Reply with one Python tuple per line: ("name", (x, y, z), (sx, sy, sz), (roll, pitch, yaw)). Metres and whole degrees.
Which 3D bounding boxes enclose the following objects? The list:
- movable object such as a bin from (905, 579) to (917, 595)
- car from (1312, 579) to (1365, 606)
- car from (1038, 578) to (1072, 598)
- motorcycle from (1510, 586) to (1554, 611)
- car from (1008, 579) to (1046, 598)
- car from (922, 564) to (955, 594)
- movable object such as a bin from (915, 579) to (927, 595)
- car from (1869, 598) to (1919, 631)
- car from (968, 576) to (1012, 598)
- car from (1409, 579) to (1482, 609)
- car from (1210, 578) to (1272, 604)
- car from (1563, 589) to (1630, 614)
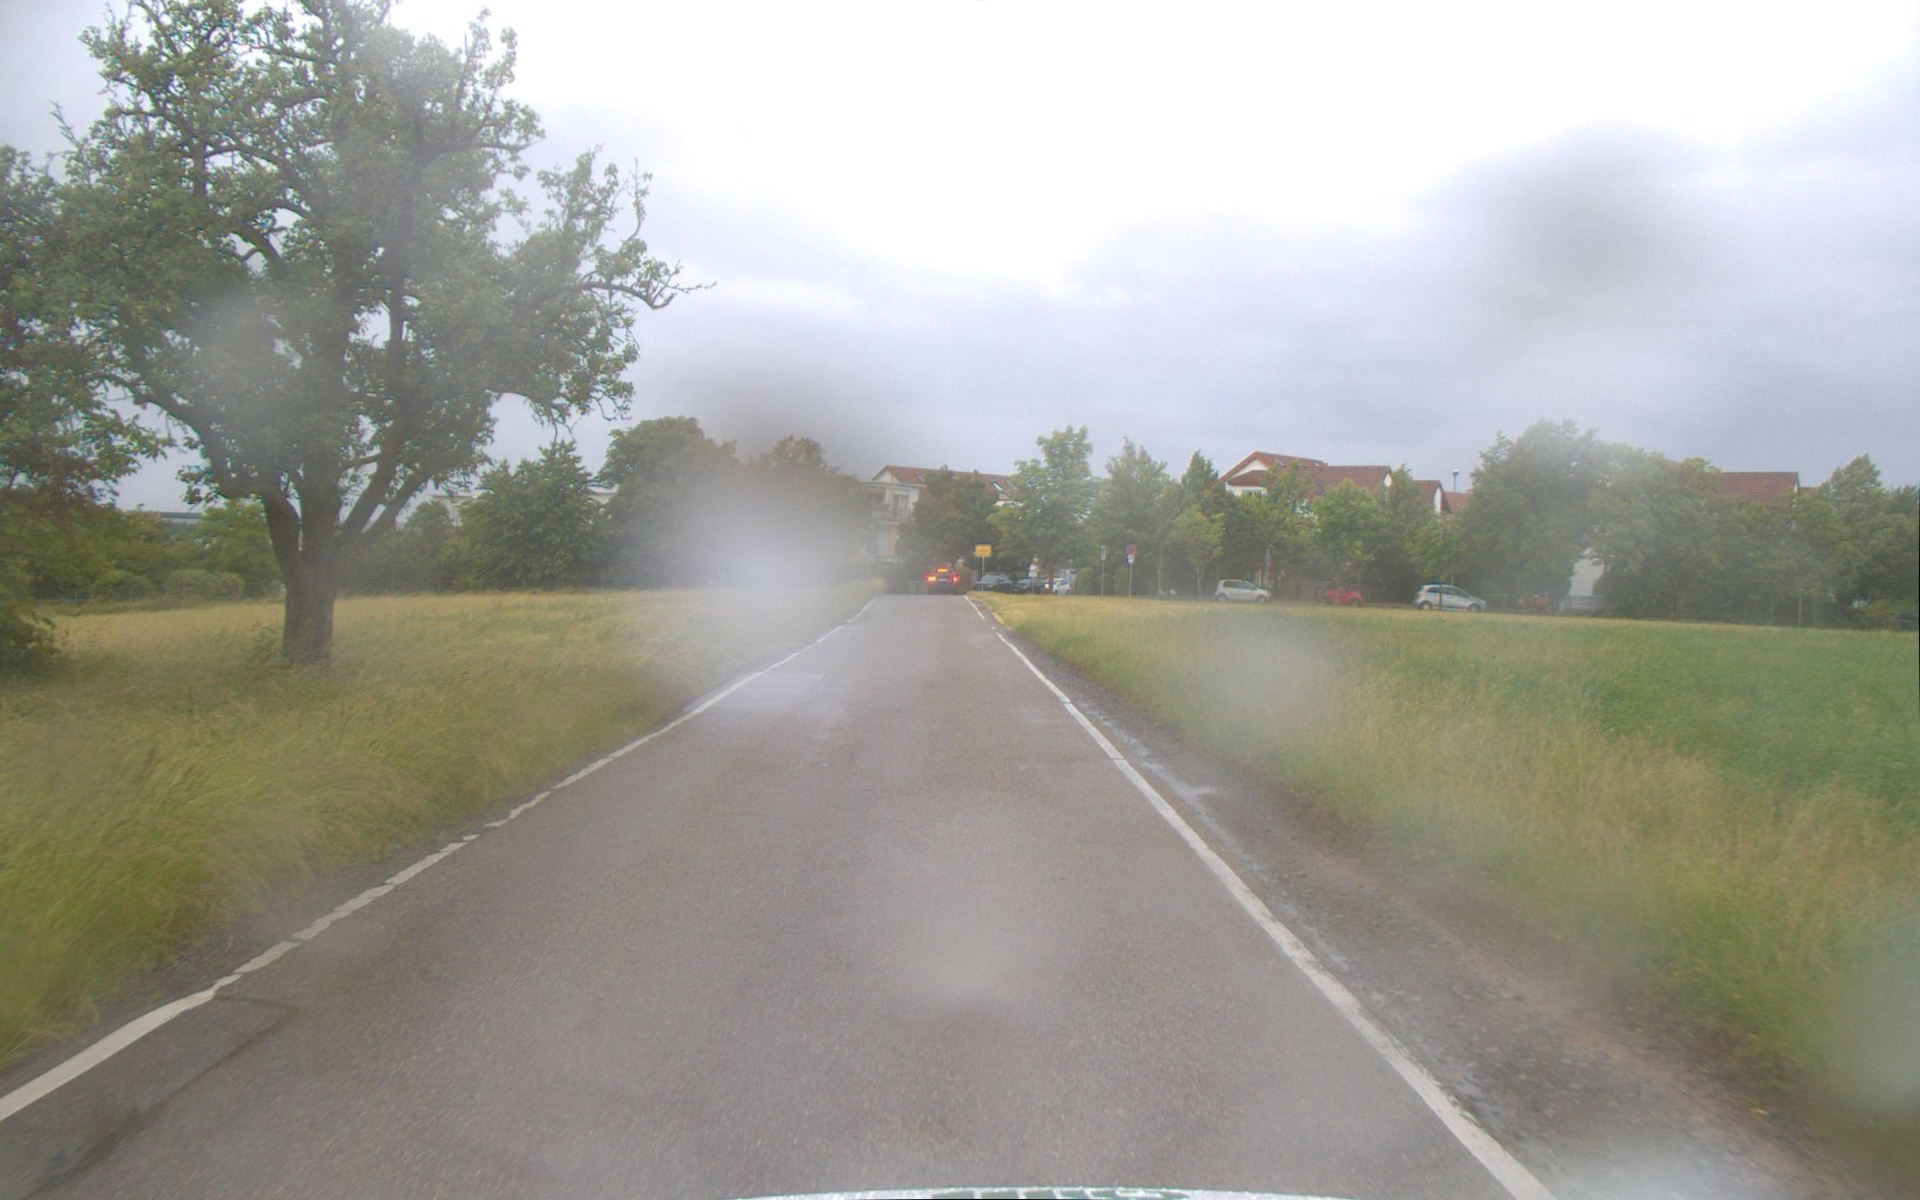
("movable object such as a bin", (-3.458, -0.925, 116.471), (0.651, 1.092, 0.544), (1, 1, 20))
("car", (22.348, -0.447, 97.593), (2.939, 1.461, 1.555), (2, 0, 16))
("car", (7.895, -0.972, 137.466), (1.483, 1.502, 3.267), (4, 1, 30))
("motorcycle", (32.751, -0.067, 94.747), (2.209, 1.325, 0.972), (2, 1, 11))
("car", (5.416, -0.898, 132.883), (1.604, 1.433, 3.599), (4, 1, 29))
("car", (-1.233, -1.171, 93.380), (1.653, 1.579, 3.694), (1, 0, -4))
("movable object such as a bin", (-2.754, -0.910, 116.211), (0.680, 1.093, 0.602), (1, 1, 20))
("car", (52.900, 0.873, 91.667), (3.903, 1.635, 1.964), (4, 1, 9))
("car", (2.334, -1.020, 127.737), (1.741, 1.544, 4.132), (4, 1, 27))
("car", (28.229, -0.338, 96.235), (3.892, 1.579, 1.854), (2, 1, 11))
("car", (16.792, -0.541, 98.949), (3.468, 1.505, 1.681), (1, 0, 17))
("car", (36.314, 0.070, 94.401), (3.247, 1.303, 1.735), (1, 0, 11))
